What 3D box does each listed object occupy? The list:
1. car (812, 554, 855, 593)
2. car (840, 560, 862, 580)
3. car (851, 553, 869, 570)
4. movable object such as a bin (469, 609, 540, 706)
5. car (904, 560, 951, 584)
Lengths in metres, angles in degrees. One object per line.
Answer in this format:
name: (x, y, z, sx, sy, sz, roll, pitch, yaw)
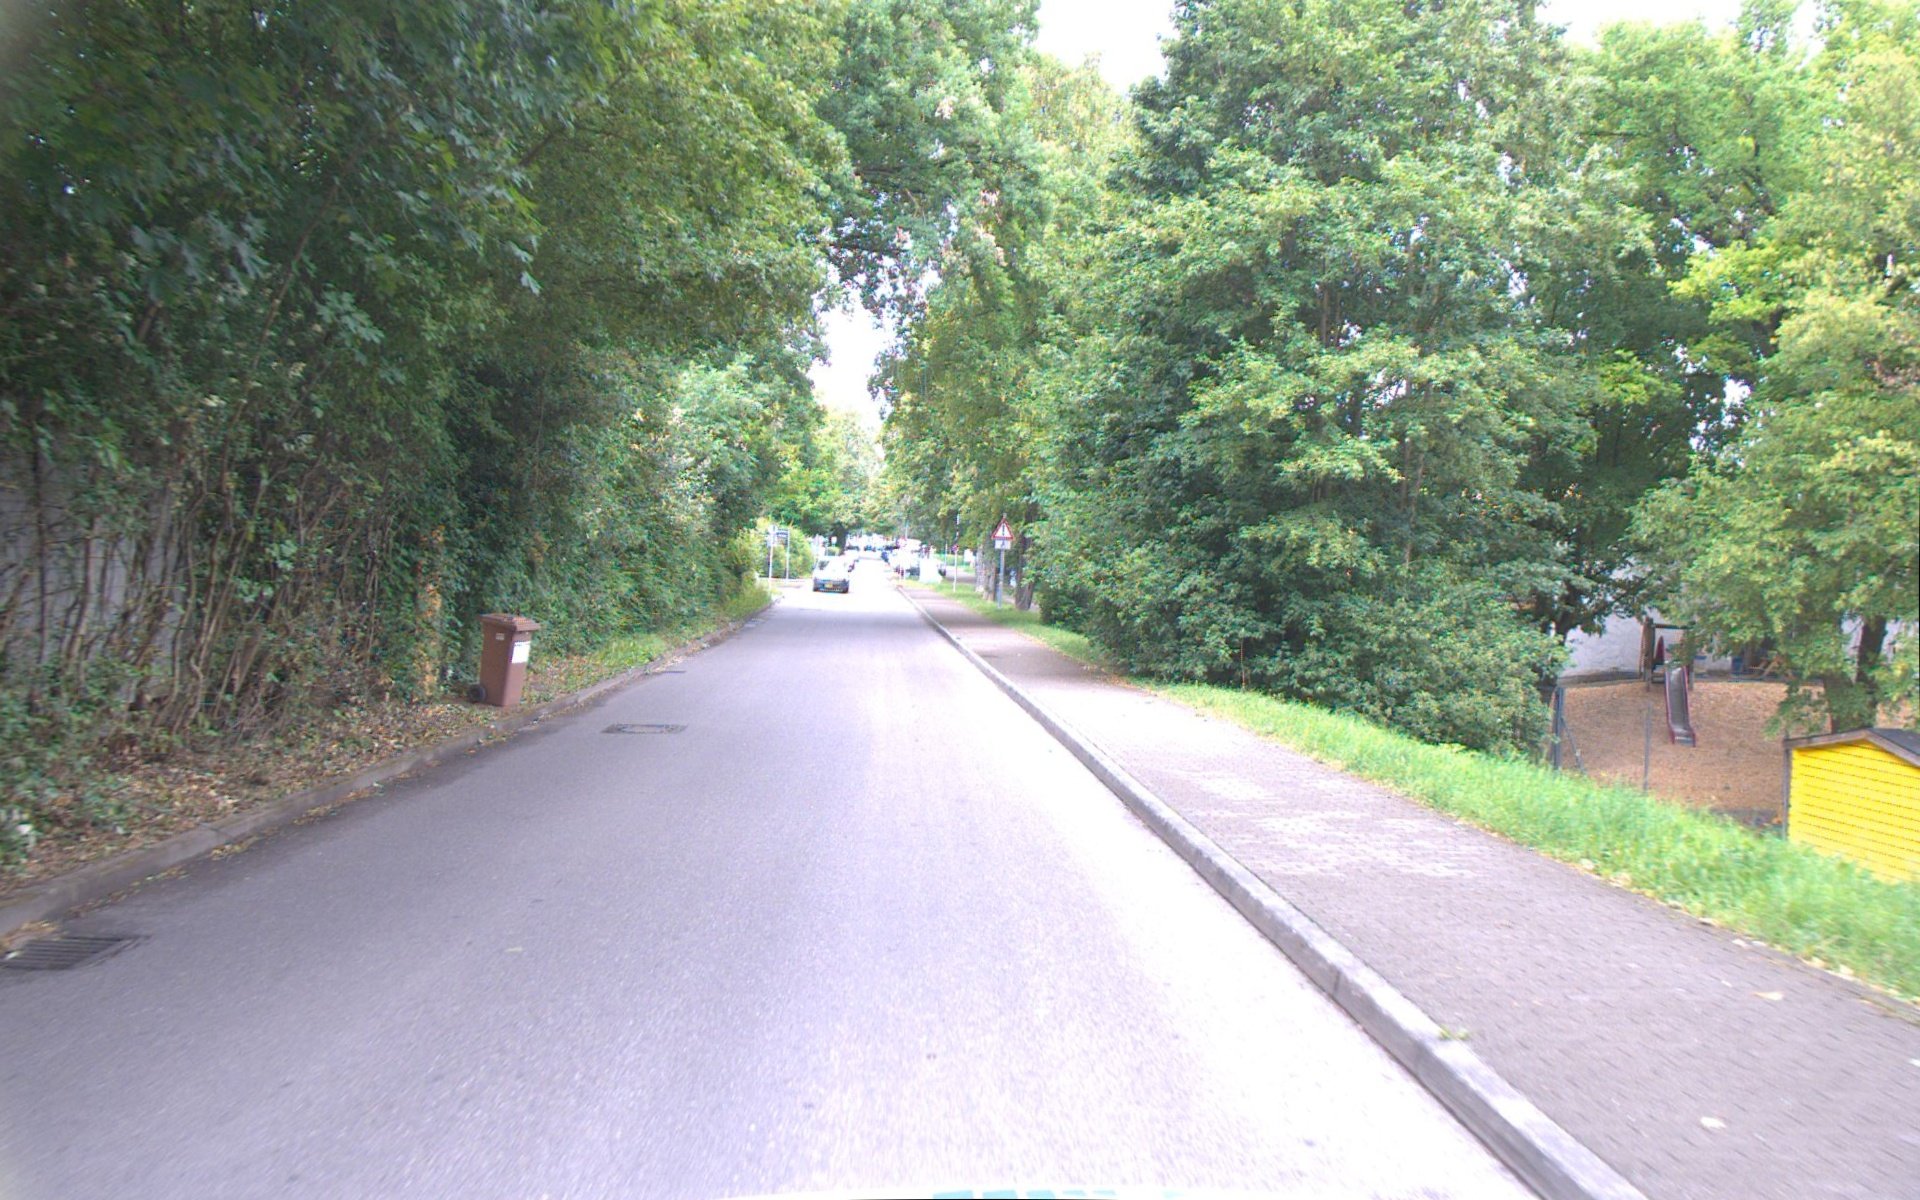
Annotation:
car: (-6.482, -1.319, 84.877, 1.953, 1.803, 3.998, 3, -1, -2)
car: (-10.497, -2.895, 159.858, 1.953, 1.803, 3.998, 3, -1, -2)
car: (-11.993, -4.597, 198.059, 1.953, 1.803, 3.998, 3, -1, -2)
movable object such as a bin: (-4.763, 0.600, 17.323, 0.578, 0.974, 0.470, 2, -1, -2)
car: (-2.781, -2.355, 140.338, 3.907, 1.803, 1.999, 3, -1, -2)
